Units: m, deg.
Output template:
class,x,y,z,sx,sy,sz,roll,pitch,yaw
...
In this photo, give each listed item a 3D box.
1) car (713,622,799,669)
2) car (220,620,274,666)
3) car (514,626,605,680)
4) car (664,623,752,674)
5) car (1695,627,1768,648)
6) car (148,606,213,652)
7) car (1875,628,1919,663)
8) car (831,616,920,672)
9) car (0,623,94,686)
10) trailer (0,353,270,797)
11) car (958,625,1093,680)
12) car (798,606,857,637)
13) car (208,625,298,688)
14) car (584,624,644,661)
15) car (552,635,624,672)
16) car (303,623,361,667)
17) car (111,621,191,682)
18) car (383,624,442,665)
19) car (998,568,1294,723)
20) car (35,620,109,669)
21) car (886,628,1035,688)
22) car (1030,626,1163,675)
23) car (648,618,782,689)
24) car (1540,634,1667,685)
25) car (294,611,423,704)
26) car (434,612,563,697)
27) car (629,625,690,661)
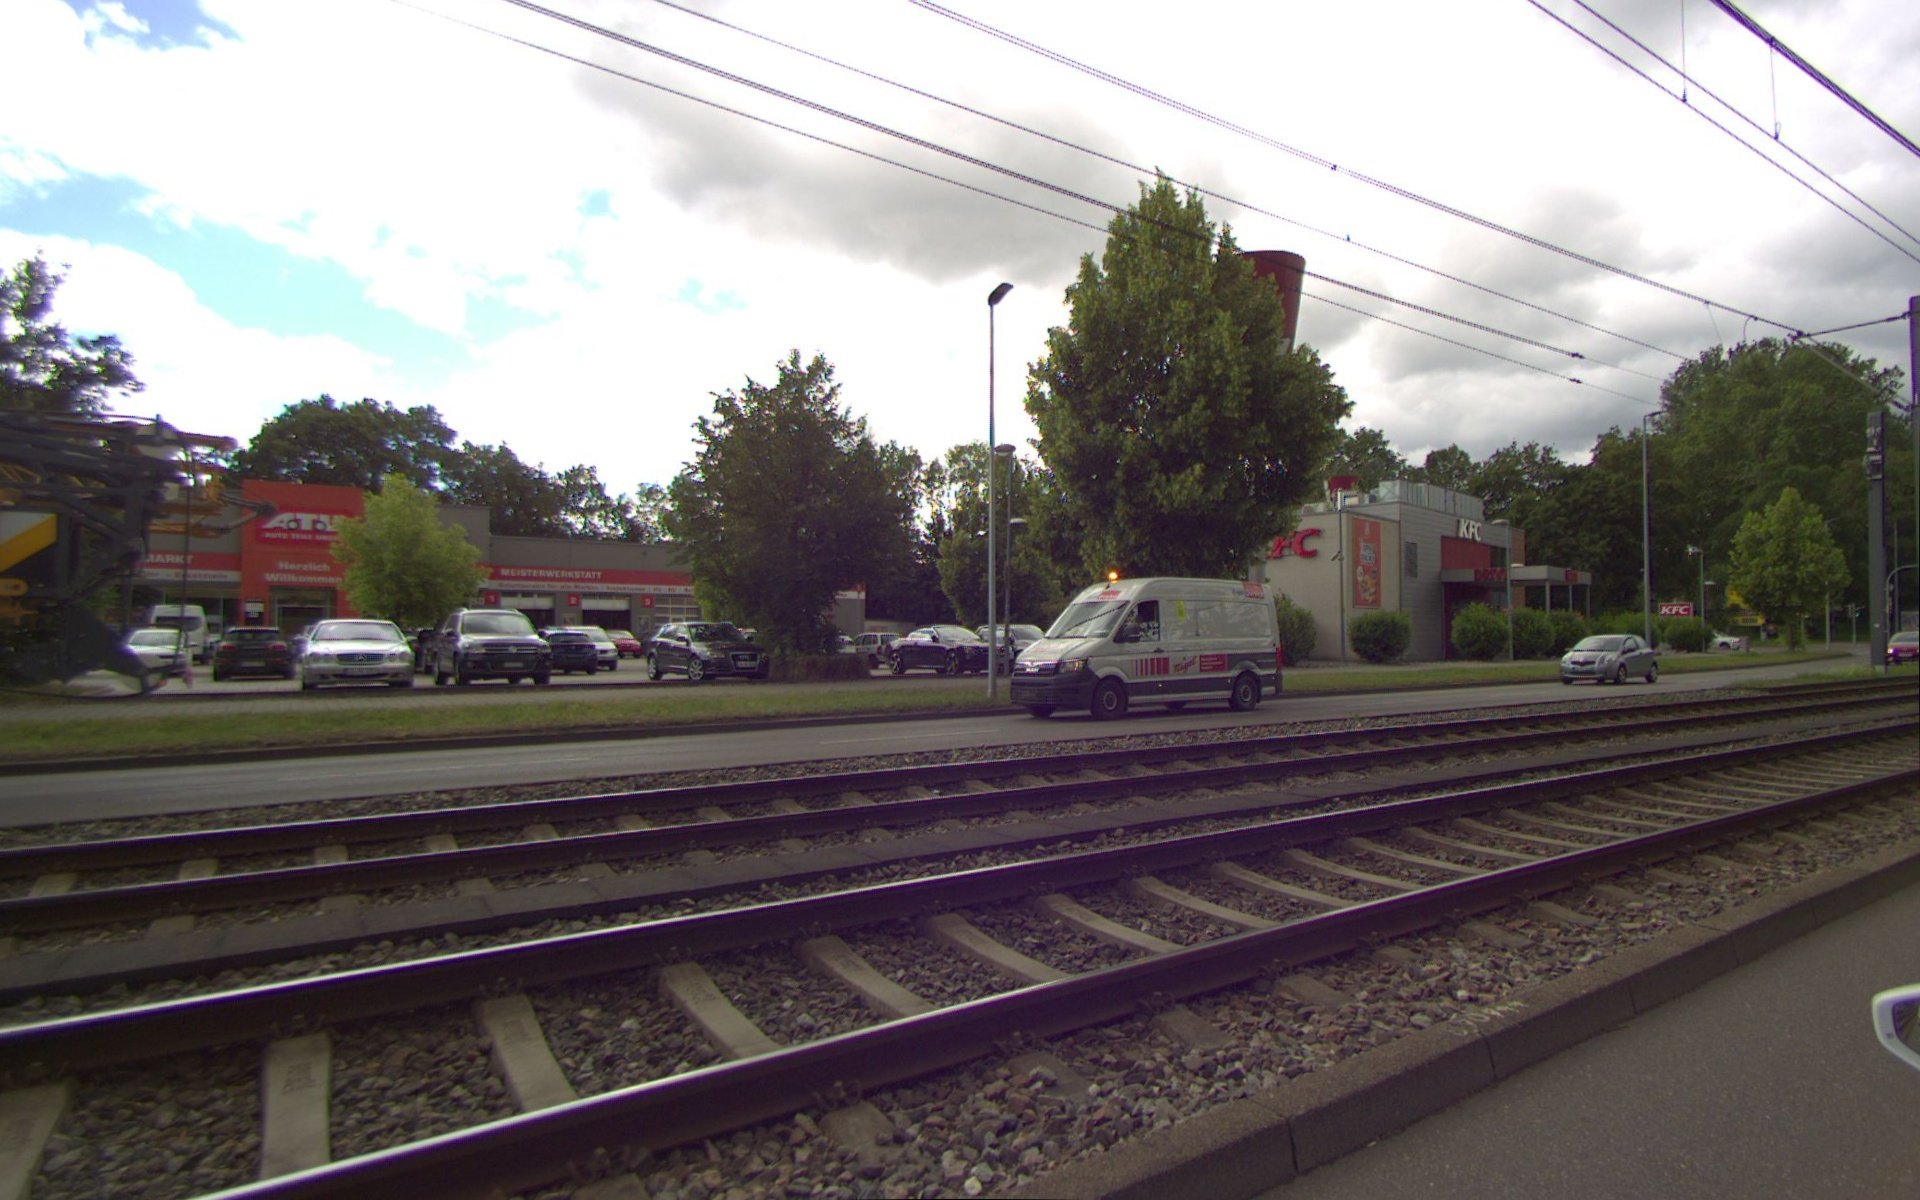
class,x,y,z,sx,sy,sz,roll,pitch,yaw
car,-7.693,1.687,37.683,1.808,1.669,3.703,1,-2,-36
car,-29.256,1.721,41.227,1.706,1.644,3.702,1,0,-36
car,-13.209,1.695,33.042,1.933,1.517,3.702,1,0,-36
car,-8.897,1.679,35.284,1.808,1.669,3.703,1,-2,-36
car,56.143,2.735,73.160,1.828,1.426,3.855,1,-2,-34
car,-31.103,1.123,40.168,1.902,1.644,3.702,1,0,-36
car,44.717,2.125,47.151,4.440,1.602,1.771,1,-4,-37
car,-3.447,1.719,40.540,1.933,2.040,3.702,1,0,-36
car,-27.207,1.571,29.965,1.706,1.644,3.702,1,0,-36
trailer,-13.573,-0.261,7.057,14.277,3.947,2.655,1,-4,-34
car,1.900,1.532,30.270,2.072,1.385,3.962,1,0,-34
car,-7.763,1.251,58.831,1.902,1.644,3.702,1,0,-36
car,-19.752,1.519,28.077,1.933,1.510,3.702,1,0,-36
car,-17.493,2.123,50.682,1.902,1.644,3.702,1,0,-36
car,-14.122,1.989,38.055,1.650,1.147,3.702,1,0,-36
car,-27.110,1.899,43.311,1.902,1.644,3.702,1,0,-36
car,-25.000,1.534,31.144,1.706,1.644,3.702,1,0,-36
car,-24.639,1.957,45.162,1.902,1.644,3.702,1,0,-36
car,3.633,0.839,18.912,5.940,2.532,1.857,1,-3,-36
car,-33.862,1.664,38.380,1.706,1.644,3.702,1,0,-36
car,-0.068,1.569,28.395,2.173,1.372,4.346,1,0,-34
car,4.182,1.526,31.273,1.979,1.253,3.962,1,0,-34
car,-6.007,1.231,24.333,1.917,1.440,3.962,1,0,-34
car,20.257,1.868,31.587,3.960,1.502,1.981,1,-4,-35
car,-11.938,1.050,19.827,1.981,1.527,3.962,1,0,-34
car,-10.023,1.093,21.649,1.917,1.527,3.962,1,0,-34
car,-15.552,2.169,51.943,1.902,1.644,3.702,1,0,-36
